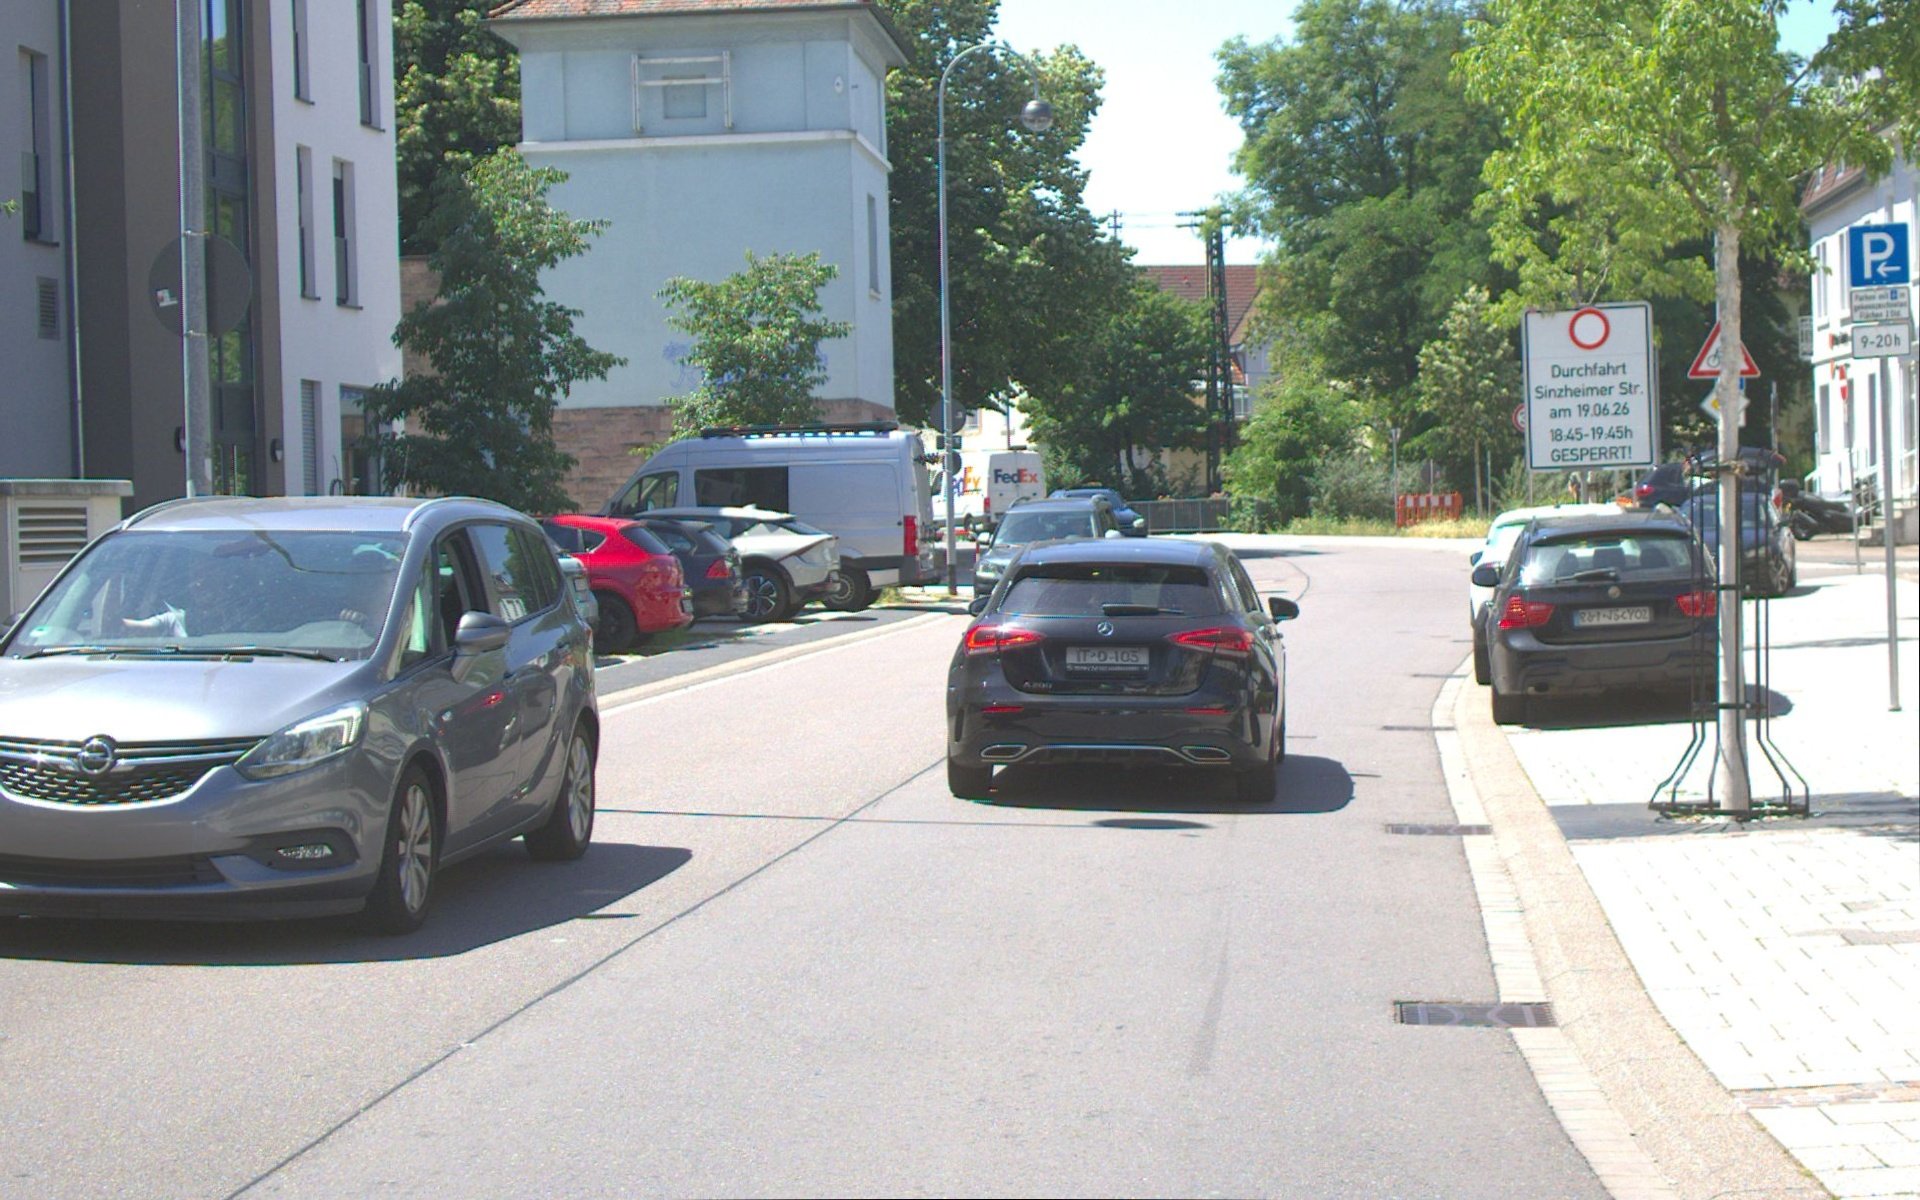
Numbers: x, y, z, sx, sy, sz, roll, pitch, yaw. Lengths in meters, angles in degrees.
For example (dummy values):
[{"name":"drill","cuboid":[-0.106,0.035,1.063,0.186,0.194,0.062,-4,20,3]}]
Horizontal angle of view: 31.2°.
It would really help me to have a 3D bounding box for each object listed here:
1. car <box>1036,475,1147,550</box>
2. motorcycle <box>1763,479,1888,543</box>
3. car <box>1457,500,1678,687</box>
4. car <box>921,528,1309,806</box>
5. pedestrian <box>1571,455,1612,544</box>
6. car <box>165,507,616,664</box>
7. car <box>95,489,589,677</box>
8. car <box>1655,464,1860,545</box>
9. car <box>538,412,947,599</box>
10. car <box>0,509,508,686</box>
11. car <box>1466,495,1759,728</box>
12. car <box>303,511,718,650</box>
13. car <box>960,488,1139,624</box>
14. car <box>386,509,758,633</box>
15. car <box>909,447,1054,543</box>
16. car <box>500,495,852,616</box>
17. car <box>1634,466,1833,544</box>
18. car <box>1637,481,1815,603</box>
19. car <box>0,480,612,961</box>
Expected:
[{"name":"car","cuboid":[3.050,-2.082,80.498,1.893,1.548,4.800,-3,3,-6]},{"name":"motorcycle","cuboid":[17.629,-1.814,70.077,2.377,1.271,0.856,0,2,6]},{"name":"car","cuboid":[5.541,-0.099,31.033,1.738,1.481,4.052,-3,1,12]},{"name":"car","cuboid":[1.005,0.336,19.972,1.828,1.437,3.999,0,0,9]},{"name":"pedestrian","cuboid":[13.065,-2.088,71.114,0.746,1.790,0.843,-1,3,14]},{"name":"car","cuboid":[-5.663,-0.174,34.455,4.034,1.491,1.999,1,1,9]},{"name":"car","cuboid":[-5.635,-0.180,31.612,4.034,1.645,1.999,1,1,9]},{"name":"car","cuboid":[17.148,-2.059,74.075,4.076,1.710,1.856,0,1,5]},{"name":"car","cuboid":[-3.209,-1.423,51.492,5.769,2.723,2.291,0,1,8]},{"name":"car","cuboid":[-6.023,-0.046,29.124,3.988,1.416,1.909,1,1,7]},{"name":"car","cuboid":[4.688,0.052,25.186,1.833,1.477,4.094,-3,0,8]},{"name":"car","cuboid":[-4.797,-0.236,36.985,4.034,1.425,1.999,1,1,9]},{"name":"car","cuboid":[1.251,-0.599,46.240,1.811,1.695,4.074,-2,1,10]},{"name":"car","cuboid":[-4.622,-0.364,41.337,4.200,1.432,1.886,0,1,3]},{"name":"car","cuboid":[0.581,-3.004,99.382,2.127,2.621,5.279,-2,1,-24]},{"name":"car","cuboid":[-3.814,-0.622,46.664,4.455,1.586,2.000,0,1,7]},{"name":"car","cuboid":[17.116,-2.102,76.234,4.076,1.710,1.856,0,1,5]},{"name":"car","cuboid":[10.825,-0.846,48.419,1.874,1.486,3.858,-2,3,21]},{"name":"car","cuboid":[-2.816,0.376,14.015,1.942,1.653,4.235,0,1,6]}]
